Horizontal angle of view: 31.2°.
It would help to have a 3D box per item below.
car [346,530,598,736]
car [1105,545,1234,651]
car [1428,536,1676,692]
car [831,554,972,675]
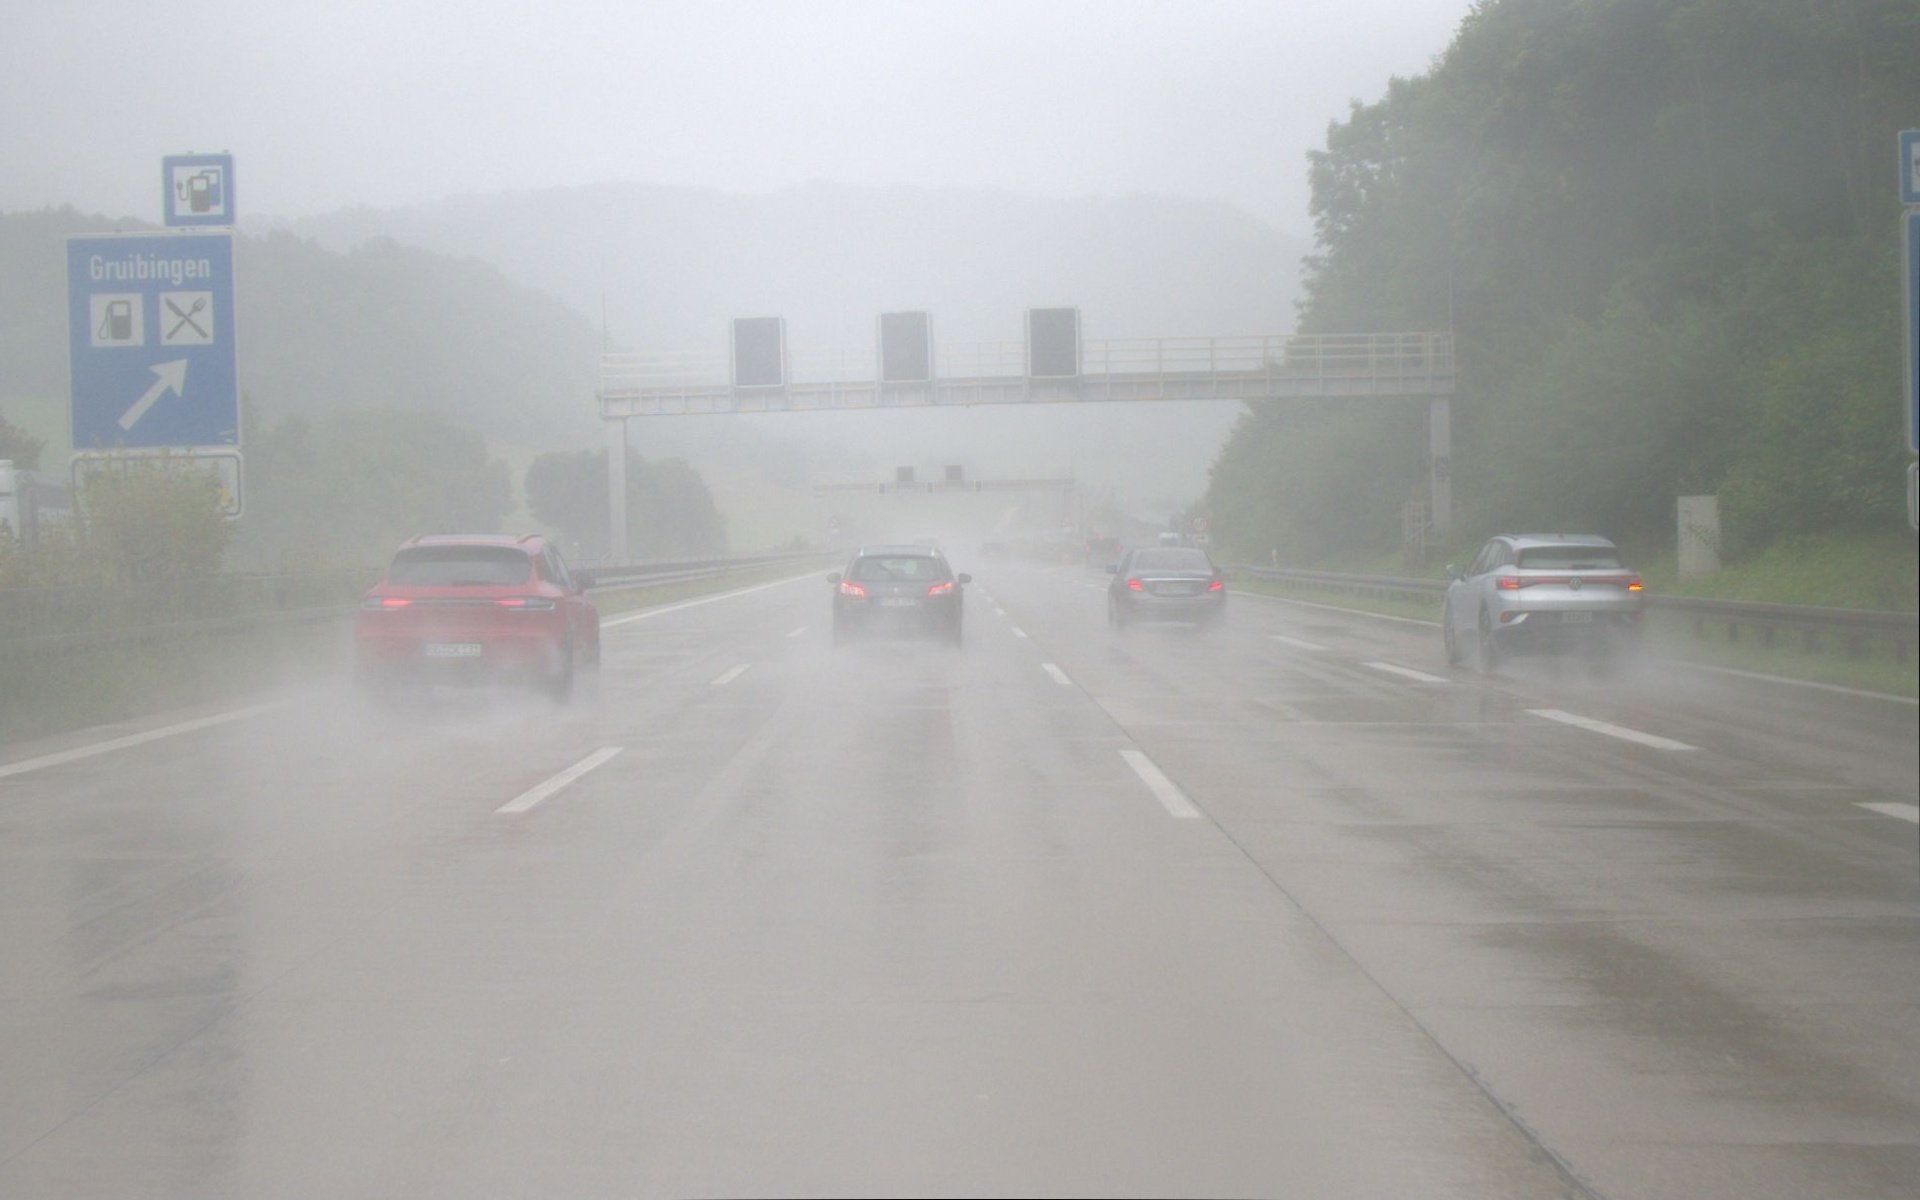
[{"bbox_3d":[-4.525,0.251,32.386,1.884,1.809,4.000,0,1,-1],"label":"car"},{"bbox_3d":[3.615,-0.069,59.810,1.971,1.754,4.000,0,1,0],"label":"car"},{"bbox_3d":[7.118,0.130,41.921,1.993,1.744,5.663,1,1,0],"label":"car"},{"bbox_3d":[-0.791,0.169,48.087,1.859,1.584,4.000,1,1,0],"label":"car"}]
